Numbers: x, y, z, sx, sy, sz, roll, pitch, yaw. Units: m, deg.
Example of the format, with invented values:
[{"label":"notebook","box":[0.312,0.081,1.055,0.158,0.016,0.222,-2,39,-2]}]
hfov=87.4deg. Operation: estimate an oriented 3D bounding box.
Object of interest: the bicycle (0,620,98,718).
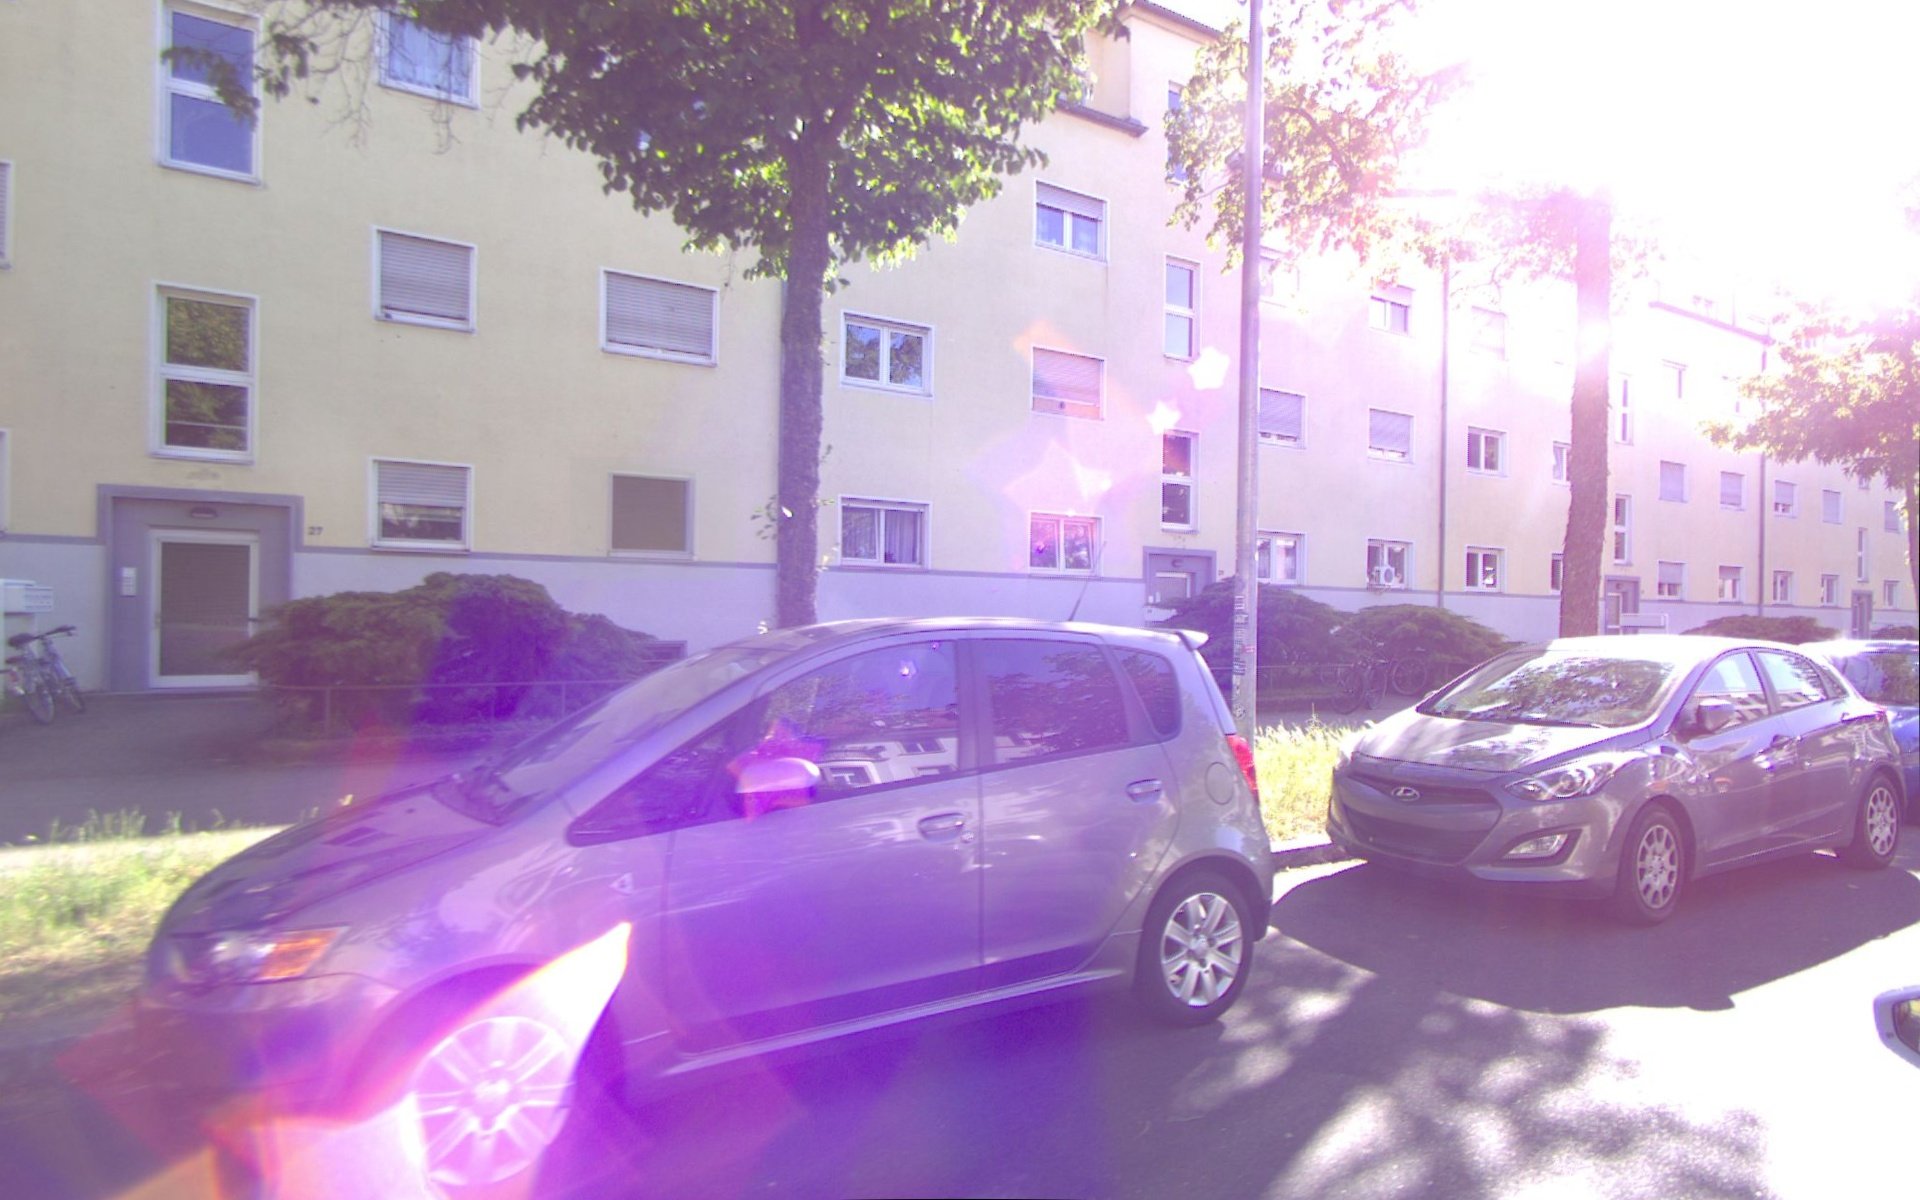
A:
[{"label":"bicycle","box":[-9.494,0.681,10.513,0.476,0.943,1.623,1,-1,-32]}]

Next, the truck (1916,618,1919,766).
[{"label":"truck","box":[11.699,1.011,11.020,2.401,1.598,1.080,1,-1,-28]}]

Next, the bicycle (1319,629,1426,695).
[{"label":"bicycle","box":[7.342,1.080,17.957,0.481,1.095,1.829,1,-1,-32]}]

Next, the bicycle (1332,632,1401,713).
[{"label":"bicycle","box":[6.038,1.042,14.875,0.478,1.095,1.839,3,1,35]}]

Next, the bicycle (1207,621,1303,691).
[{"label":"bicycle","box":[5.223,0.978,17.913,0.480,1.095,1.832,2,1,-26]}]

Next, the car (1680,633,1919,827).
[{"label":"car","box":[8.226,1.021,9.081,3.685,1.414,1.512,1,-1,-32]}]

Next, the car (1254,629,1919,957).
[{"label":"car","box":[4.229,0.934,6.424,4.630,1.463,1.784,1,-2,-29]}]

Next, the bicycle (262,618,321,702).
[{"label":"bicycle","box":[-8.056,0.691,12.086,0.477,0.943,1.620,1,-1,-37]}]

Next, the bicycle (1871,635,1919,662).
[{"label":"bicycle","box":[36.274,1.864,38.526,0.591,1.005,1.908,1,-1,-36]}]

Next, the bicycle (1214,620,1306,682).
[{"label":"bicycle","box":[6.019,1.001,20.235,0.481,1.095,1.828,5,-1,-33]}]

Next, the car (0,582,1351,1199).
[{"label":"car","box":[-0.633,0.826,3.753,4.218,1.535,1.613,2,-3,-30]}]
